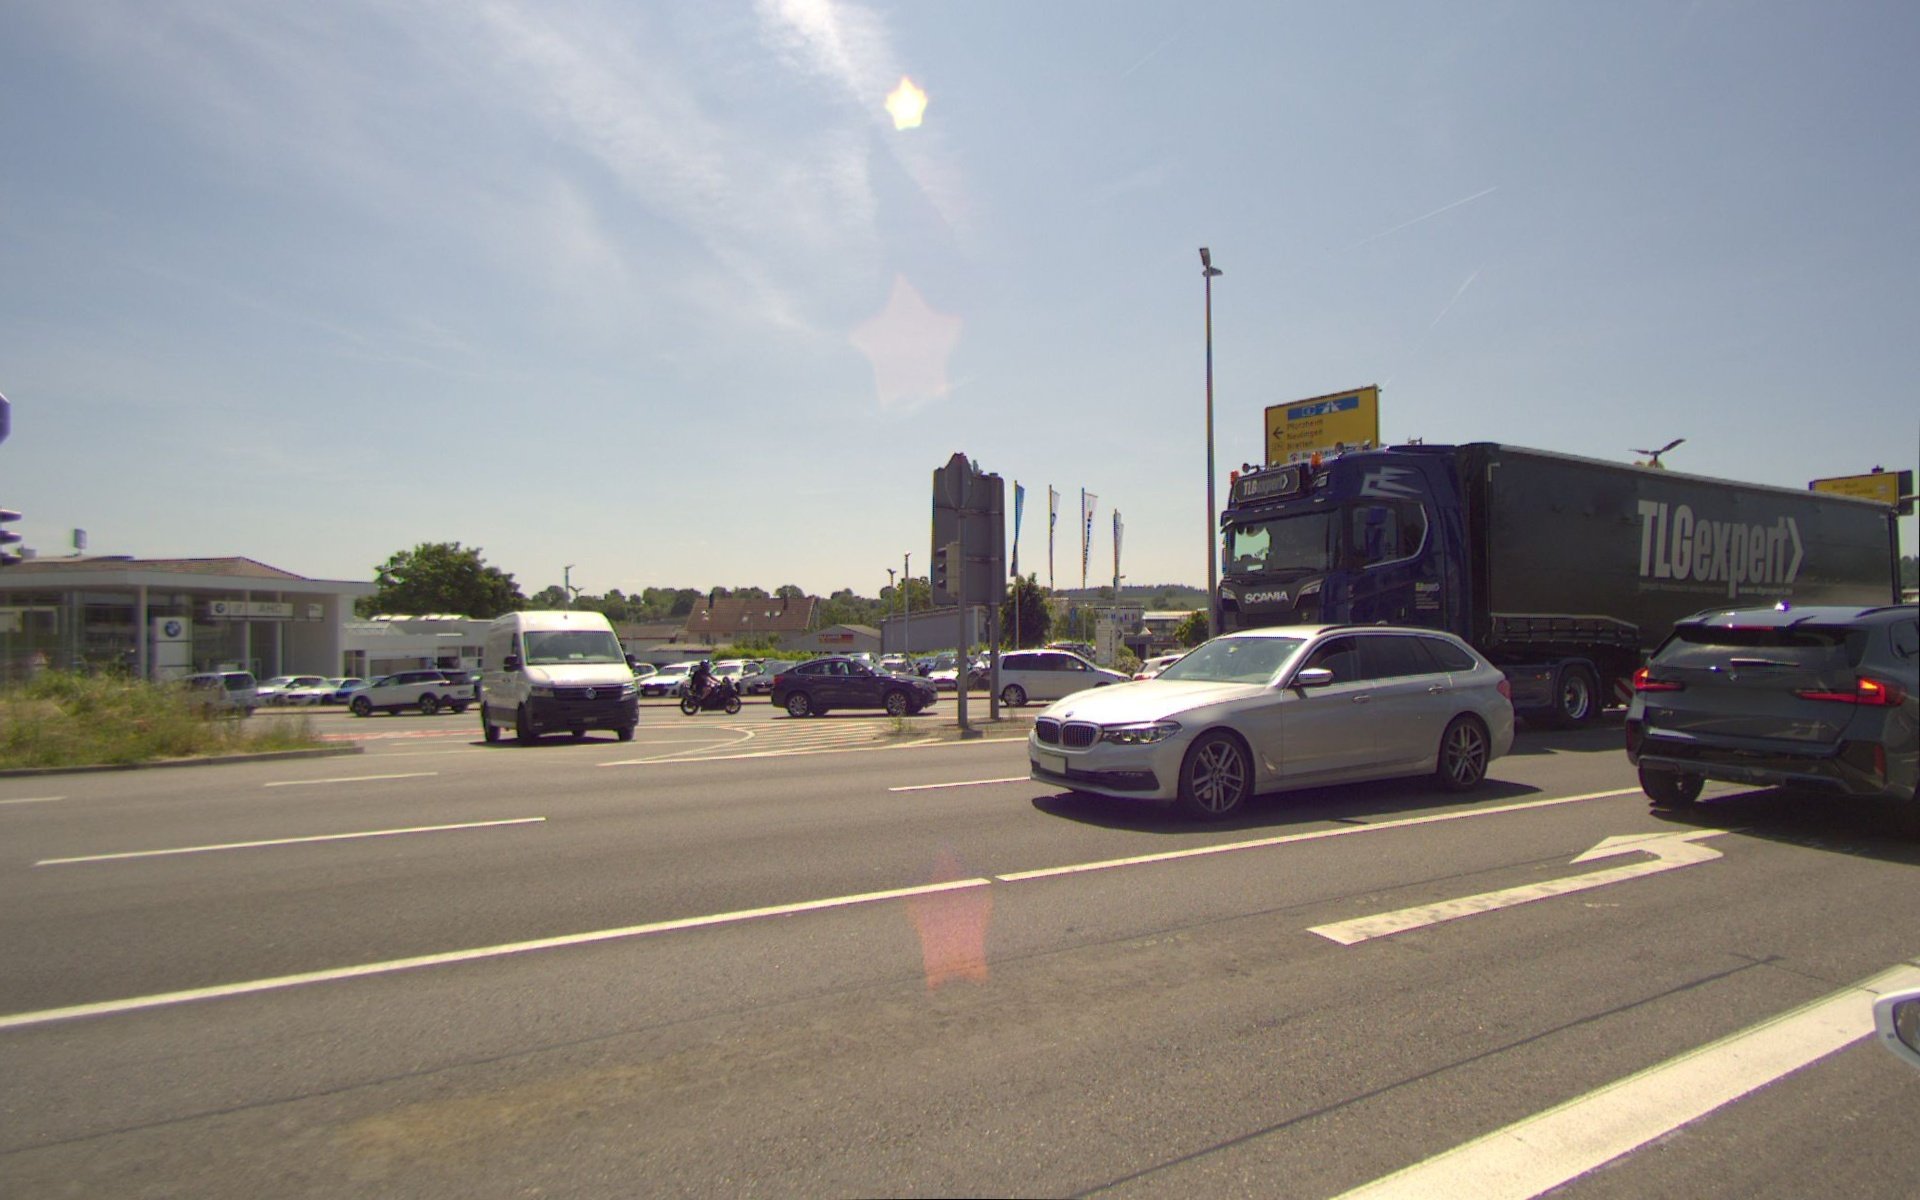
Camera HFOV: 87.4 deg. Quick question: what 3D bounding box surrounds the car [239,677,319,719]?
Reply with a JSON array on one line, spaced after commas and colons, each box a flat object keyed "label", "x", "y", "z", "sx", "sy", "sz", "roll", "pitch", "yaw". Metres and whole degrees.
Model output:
[{"label": "car", "x": -32.134, "y": 4.607, "z": 47.509, "sx": 1.829, "sy": 1.635, "sz": 3.891, "roll": 2, "pitch": -1, "yaw": -14}]

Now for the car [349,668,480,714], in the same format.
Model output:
[{"label": "car", "x": -20.456, "y": 3.409, "z": 37.735, "sx": 4.113, "sy": 1.622, "sz": 1.751, "roll": -1, "pitch": -2, "yaw": 10}]

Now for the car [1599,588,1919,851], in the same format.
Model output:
[{"label": "car", "x": 7.284, "y": 0.788, "z": 8.194, "sx": 4.320, "sy": 1.649, "sz": 1.784, "roll": 1, "pitch": 0, "yaw": -32}]

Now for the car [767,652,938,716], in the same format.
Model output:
[{"label": "car", "x": -2.923, "y": 2.288, "z": 27.612, "sx": 4.321, "sy": 1.621, "sz": 1.751, "roll": -2, "pitch": -3, "yaw": 10}]

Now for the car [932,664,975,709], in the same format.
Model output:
[{"label": "car", "x": -0.244, "y": 3.547, "z": 41.658, "sx": 1.503, "sy": 1.584, "sz": 3.457, "roll": 2, "pitch": -1, "yaw": 4}]

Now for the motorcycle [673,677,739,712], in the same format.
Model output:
[{"label": "motorcycle", "x": -7.949, "y": 2.952, "z": 31.443, "sx": 1.861, "sy": 0.972, "sz": 0.631, "roll": 2, "pitch": -1, "yaw": 3}]

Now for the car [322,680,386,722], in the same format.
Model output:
[{"label": "car", "x": -27.729, "y": 4.600, "z": 46.072, "sx": 1.507, "sy": 1.584, "sz": 3.445, "roll": 2, "pitch": -1, "yaw": -14}]

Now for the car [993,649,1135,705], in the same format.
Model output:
[{"label": "car", "x": 3.138, "y": 2.275, "z": 29.996, "sx": 4.113, "sy": 1.622, "sz": 1.751, "roll": -1, "pitch": -2, "yaw": 10}]

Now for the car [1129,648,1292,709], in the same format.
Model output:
[{"label": "car", "x": 6.360, "y": 1.987, "z": 25.832, "sx": 3.932, "sy": 1.500, "sz": 1.791, "roll": -1, "pitch": -2, "yaw": 11}]

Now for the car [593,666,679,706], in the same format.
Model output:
[{"label": "car", "x": -14.524, "y": 3.823, "z": 45.265, "sx": 1.959, "sy": 1.484, "sz": 4.003, "roll": 2, "pitch": -1, "yaw": 10}]

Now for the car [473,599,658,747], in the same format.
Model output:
[{"label": "car", "x": -8.092, "y": 1.442, "z": 20.203, "sx": 2.173, "sy": 2.520, "sz": 5.954, "roll": 1, "pitch": -4, "yaw": -35}]

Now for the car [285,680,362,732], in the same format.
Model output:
[{"label": "car", "x": -29.546, "y": 4.879, "z": 46.761, "sx": 1.829, "sy": 2.040, "sz": 3.891, "roll": 2, "pitch": -1, "yaw": -14}]

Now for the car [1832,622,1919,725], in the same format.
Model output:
[{"label": "car", "x": 15.906, "y": 1.135, "z": 16.123, "sx": 3.857, "sy": 1.528, "sz": 1.657, "roll": 1, "pitch": -2, "yaw": -29}]

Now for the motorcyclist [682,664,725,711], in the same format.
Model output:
[{"label": "motorcyclist", "x": -8.005, "y": 2.727, "z": 31.418, "sx": 1.069, "sy": 1.392, "sz": 0.810, "roll": 2, "pitch": -1, "yaw": 3}]

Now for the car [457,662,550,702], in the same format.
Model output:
[{"label": "car", "x": -20.098, "y": 3.571, "z": 44.402, "sx": 1.716, "sy": 1.484, "sz": 4.003, "roll": 2, "pitch": -1, "yaw": 10}]

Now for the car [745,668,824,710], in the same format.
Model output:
[{"label": "car", "x": -7.479, "y": 3.780, "z": 43.144, "sx": 1.715, "sy": 1.622, "sz": 4.201, "roll": -1, "pitch": -3, "yaw": 16}]

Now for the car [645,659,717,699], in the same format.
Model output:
[{"label": "car", "x": -12.166, "y": 3.425, "z": 44.095, "sx": 1.715, "sy": 1.622, "sz": 4.201, "roll": 0, "pitch": -3, "yaw": 4}]

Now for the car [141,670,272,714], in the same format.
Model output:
[{"label": "car", "x": -29.420, "y": 3.571, "z": 39.271, "sx": 4.113, "sy": 1.622, "sz": 1.751, "roll": -1, "pitch": -2, "yaw": 10}]

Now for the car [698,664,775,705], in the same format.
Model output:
[{"label": "car", "x": -9.732, "y": 3.654, "z": 44.099, "sx": 1.714, "sy": 1.622, "sz": 4.201, "roll": -1, "pitch": -3, "yaw": 12}]

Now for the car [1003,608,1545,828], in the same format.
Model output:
[{"label": "car", "x": 2.927, "y": 0.903, "z": 9.024, "sx": 4.887, "sy": 1.528, "sz": 1.802, "roll": 1, "pitch": -3, "yaw": -30}]

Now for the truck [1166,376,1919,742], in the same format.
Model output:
[{"label": "truck", "x": 11.383, "y": -0.325, "z": 17.661, "sx": 17.325, "sy": 4.406, "sz": 3.133, "roll": 1, "pitch": -2, "yaw": -29}]
